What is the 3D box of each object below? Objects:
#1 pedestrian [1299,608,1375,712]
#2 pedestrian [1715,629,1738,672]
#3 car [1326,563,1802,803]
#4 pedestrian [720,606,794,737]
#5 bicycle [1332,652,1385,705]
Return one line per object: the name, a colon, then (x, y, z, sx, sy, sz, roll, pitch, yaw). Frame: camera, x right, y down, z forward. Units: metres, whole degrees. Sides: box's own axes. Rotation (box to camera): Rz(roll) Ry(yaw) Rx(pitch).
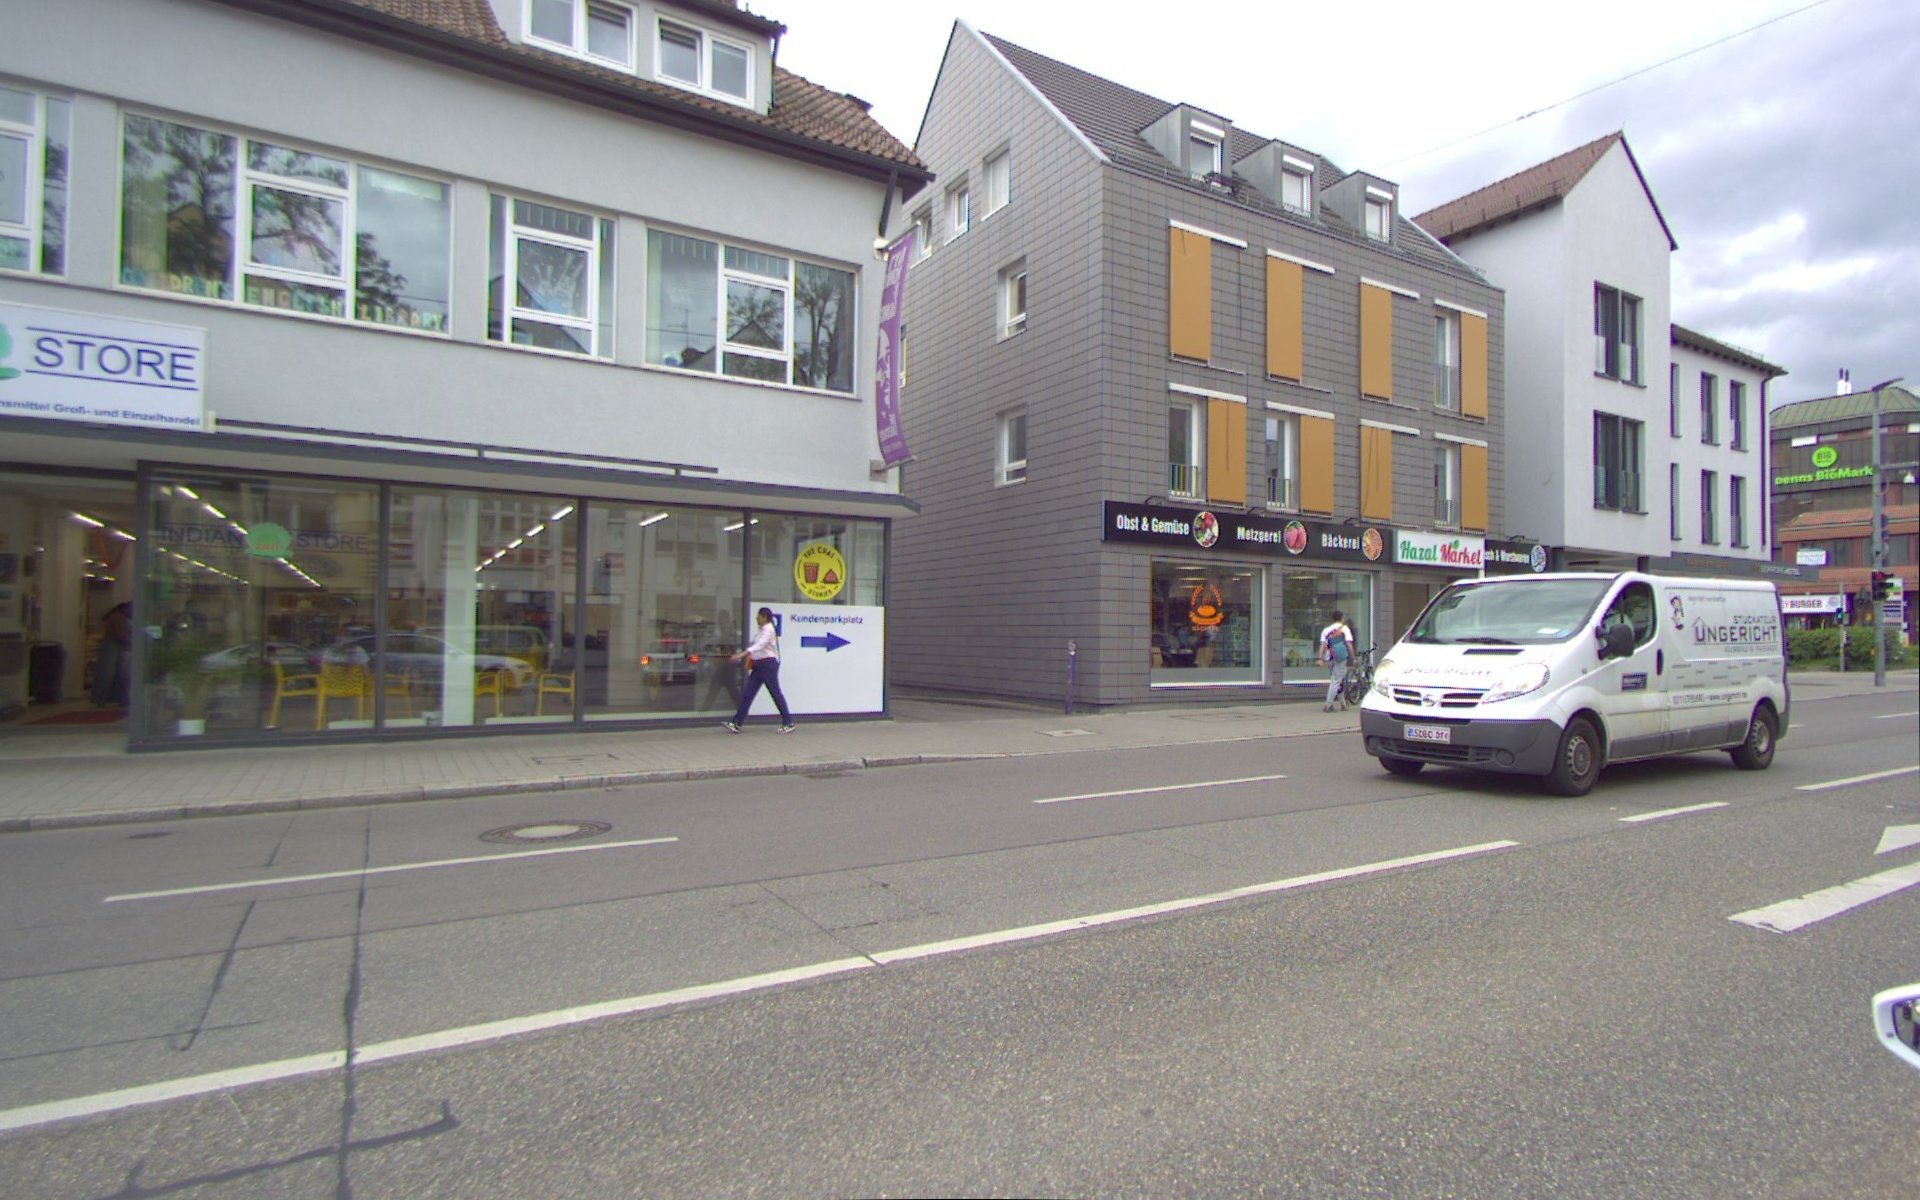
pedestrian: (6.575, 1.019, 17.528, 0.969, 1.728, 0.750, 1, 2, -30)
pedestrian: (30.281, 1.972, 39.672, 0.694, 1.680, 0.936, 0, -1, 39)
car: (6.239, 0.739, 10.198, 5.099, 1.913, 1.984, 1, -3, -31)
pedestrian: (-2.641, 0.899, 13.017, 0.744, 1.631, 0.725, 1, -1, -30)
bicycle: (7.604, 1.480, 19.134, 1.472, 0.966, 0.323, 2, -2, -42)
